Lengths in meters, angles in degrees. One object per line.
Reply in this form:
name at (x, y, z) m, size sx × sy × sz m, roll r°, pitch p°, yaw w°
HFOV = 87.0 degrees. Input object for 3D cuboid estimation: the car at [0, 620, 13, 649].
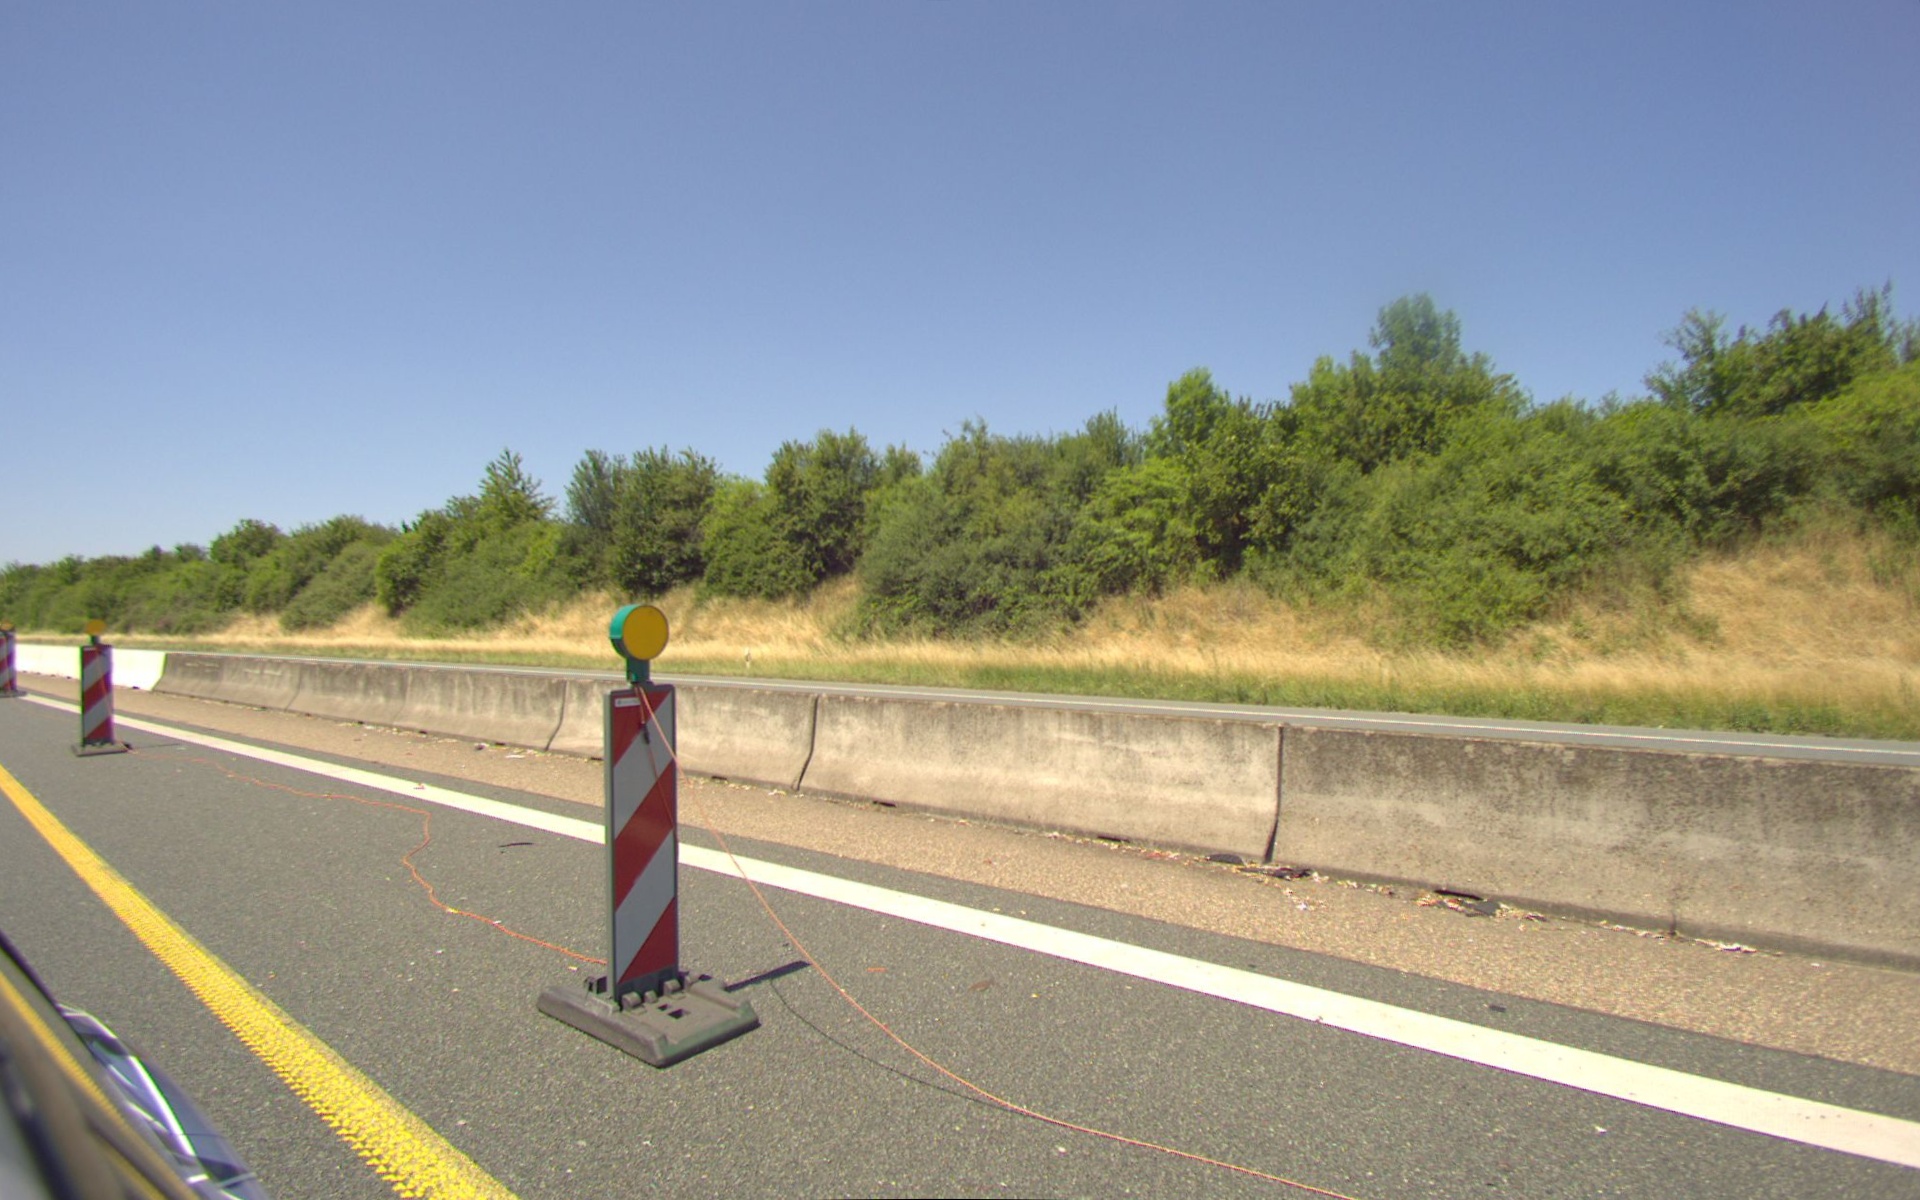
car at (-74.032, 2.621, 77.261) m, size 4.935 × 2.101 × 1.943 m, roll -1°, pitch -2°, yaw 41°
